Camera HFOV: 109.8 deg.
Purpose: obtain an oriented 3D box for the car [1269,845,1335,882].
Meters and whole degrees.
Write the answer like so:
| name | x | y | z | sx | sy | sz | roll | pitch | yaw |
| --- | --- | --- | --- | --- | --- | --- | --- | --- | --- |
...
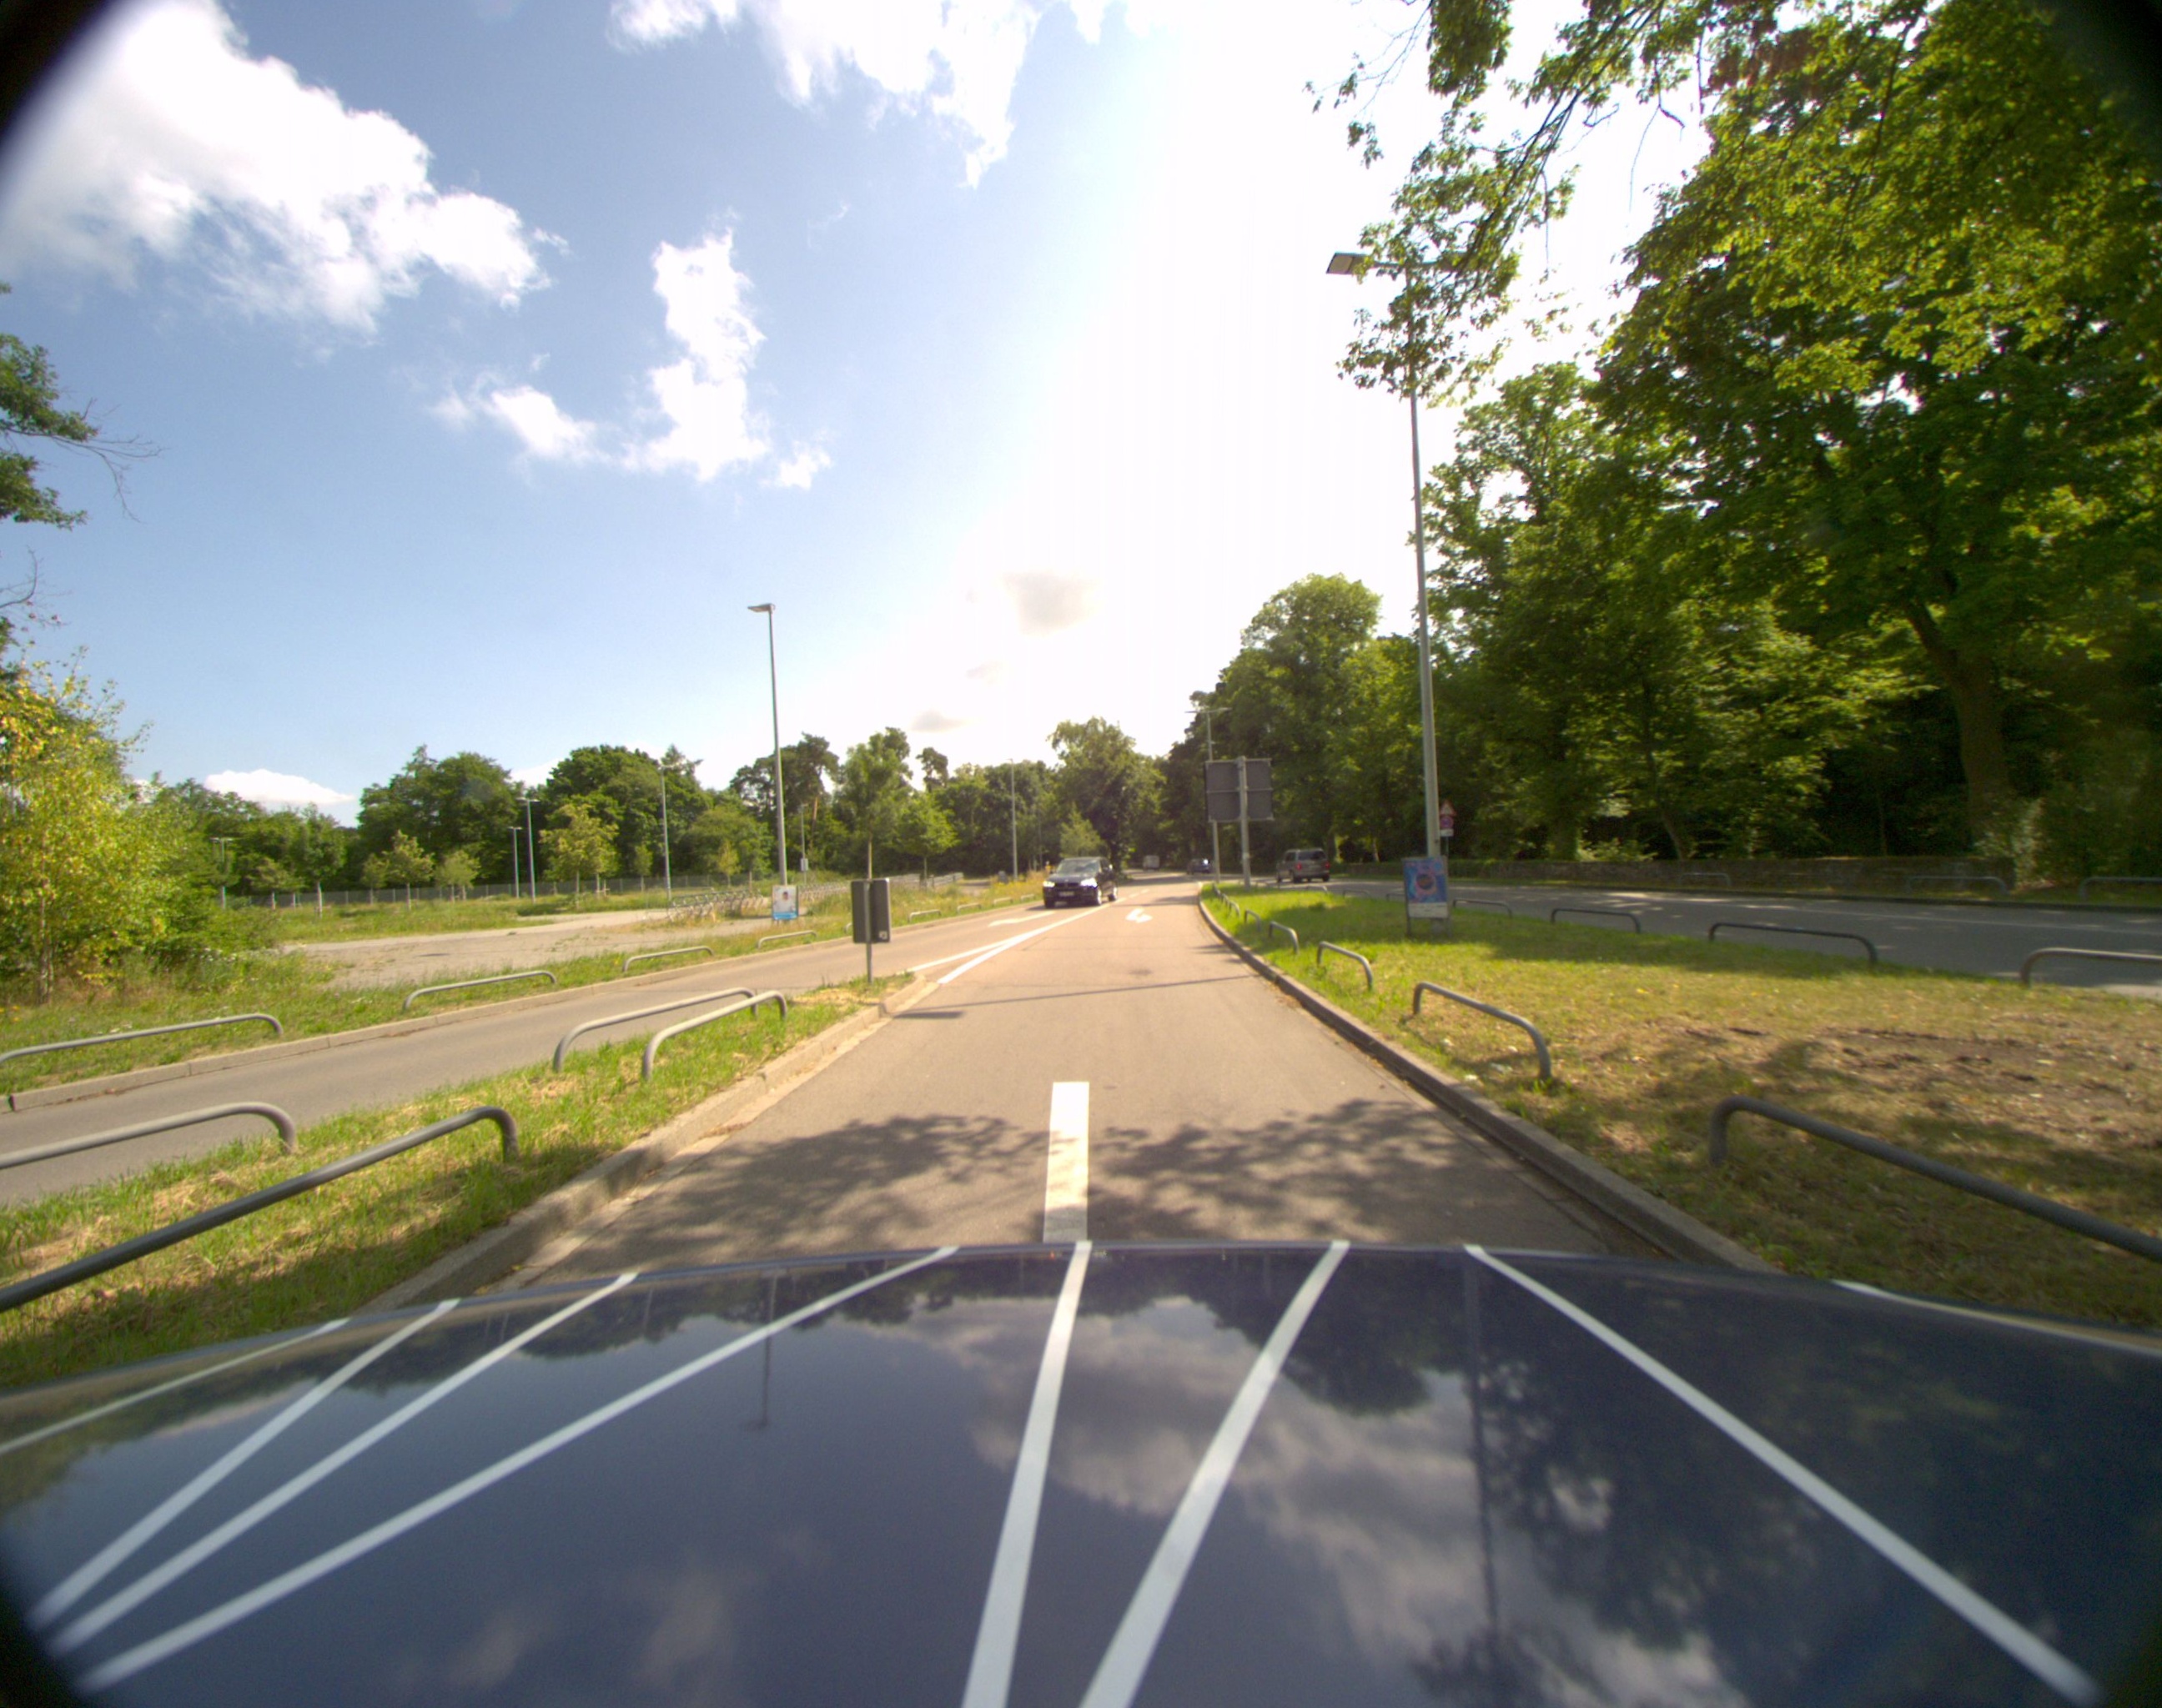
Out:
| name | x | y | z | sx | sy | sz | roll | pitch | yaw |
| --- | --- | --- | --- | --- | --- | --- | --- | --- | --- |
| car | 10.904 | 0.480 | 37.784 | 1.766 | 1.620 | 4.298 | -5 | 0 | -3 |

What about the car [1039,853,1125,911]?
| name | x | y | z | sx | sy | sz | roll | pitch | yaw |
| --- | --- | --- | --- | --- | --- | --- | --- | --- | --- |
| car | 0.148 | 0.923 | 27.613 | 1.978 | 1.754 | 4.711 | -3 | 1 | 14 |

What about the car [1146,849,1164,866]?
| name | x | y | z | sx | sy | sz | roll | pitch | yaw |
| --- | --- | --- | --- | --- | --- | --- | --- | --- | --- |
| car | 11.525 | 0.497 | 118.507 | 1.980 | 2.417 | 5.361 | -4 | 1 | -2 |

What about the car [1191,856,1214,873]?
| name | x | y | z | sx | sy | sz | roll | pitch | yaw |
| --- | --- | --- | --- | --- | --- | --- | --- | --- | --- |
| car | 11.827 | 1.000 | 74.012 | 1.698 | 1.438 | 4.067 | -4 | 1 | 3 |
